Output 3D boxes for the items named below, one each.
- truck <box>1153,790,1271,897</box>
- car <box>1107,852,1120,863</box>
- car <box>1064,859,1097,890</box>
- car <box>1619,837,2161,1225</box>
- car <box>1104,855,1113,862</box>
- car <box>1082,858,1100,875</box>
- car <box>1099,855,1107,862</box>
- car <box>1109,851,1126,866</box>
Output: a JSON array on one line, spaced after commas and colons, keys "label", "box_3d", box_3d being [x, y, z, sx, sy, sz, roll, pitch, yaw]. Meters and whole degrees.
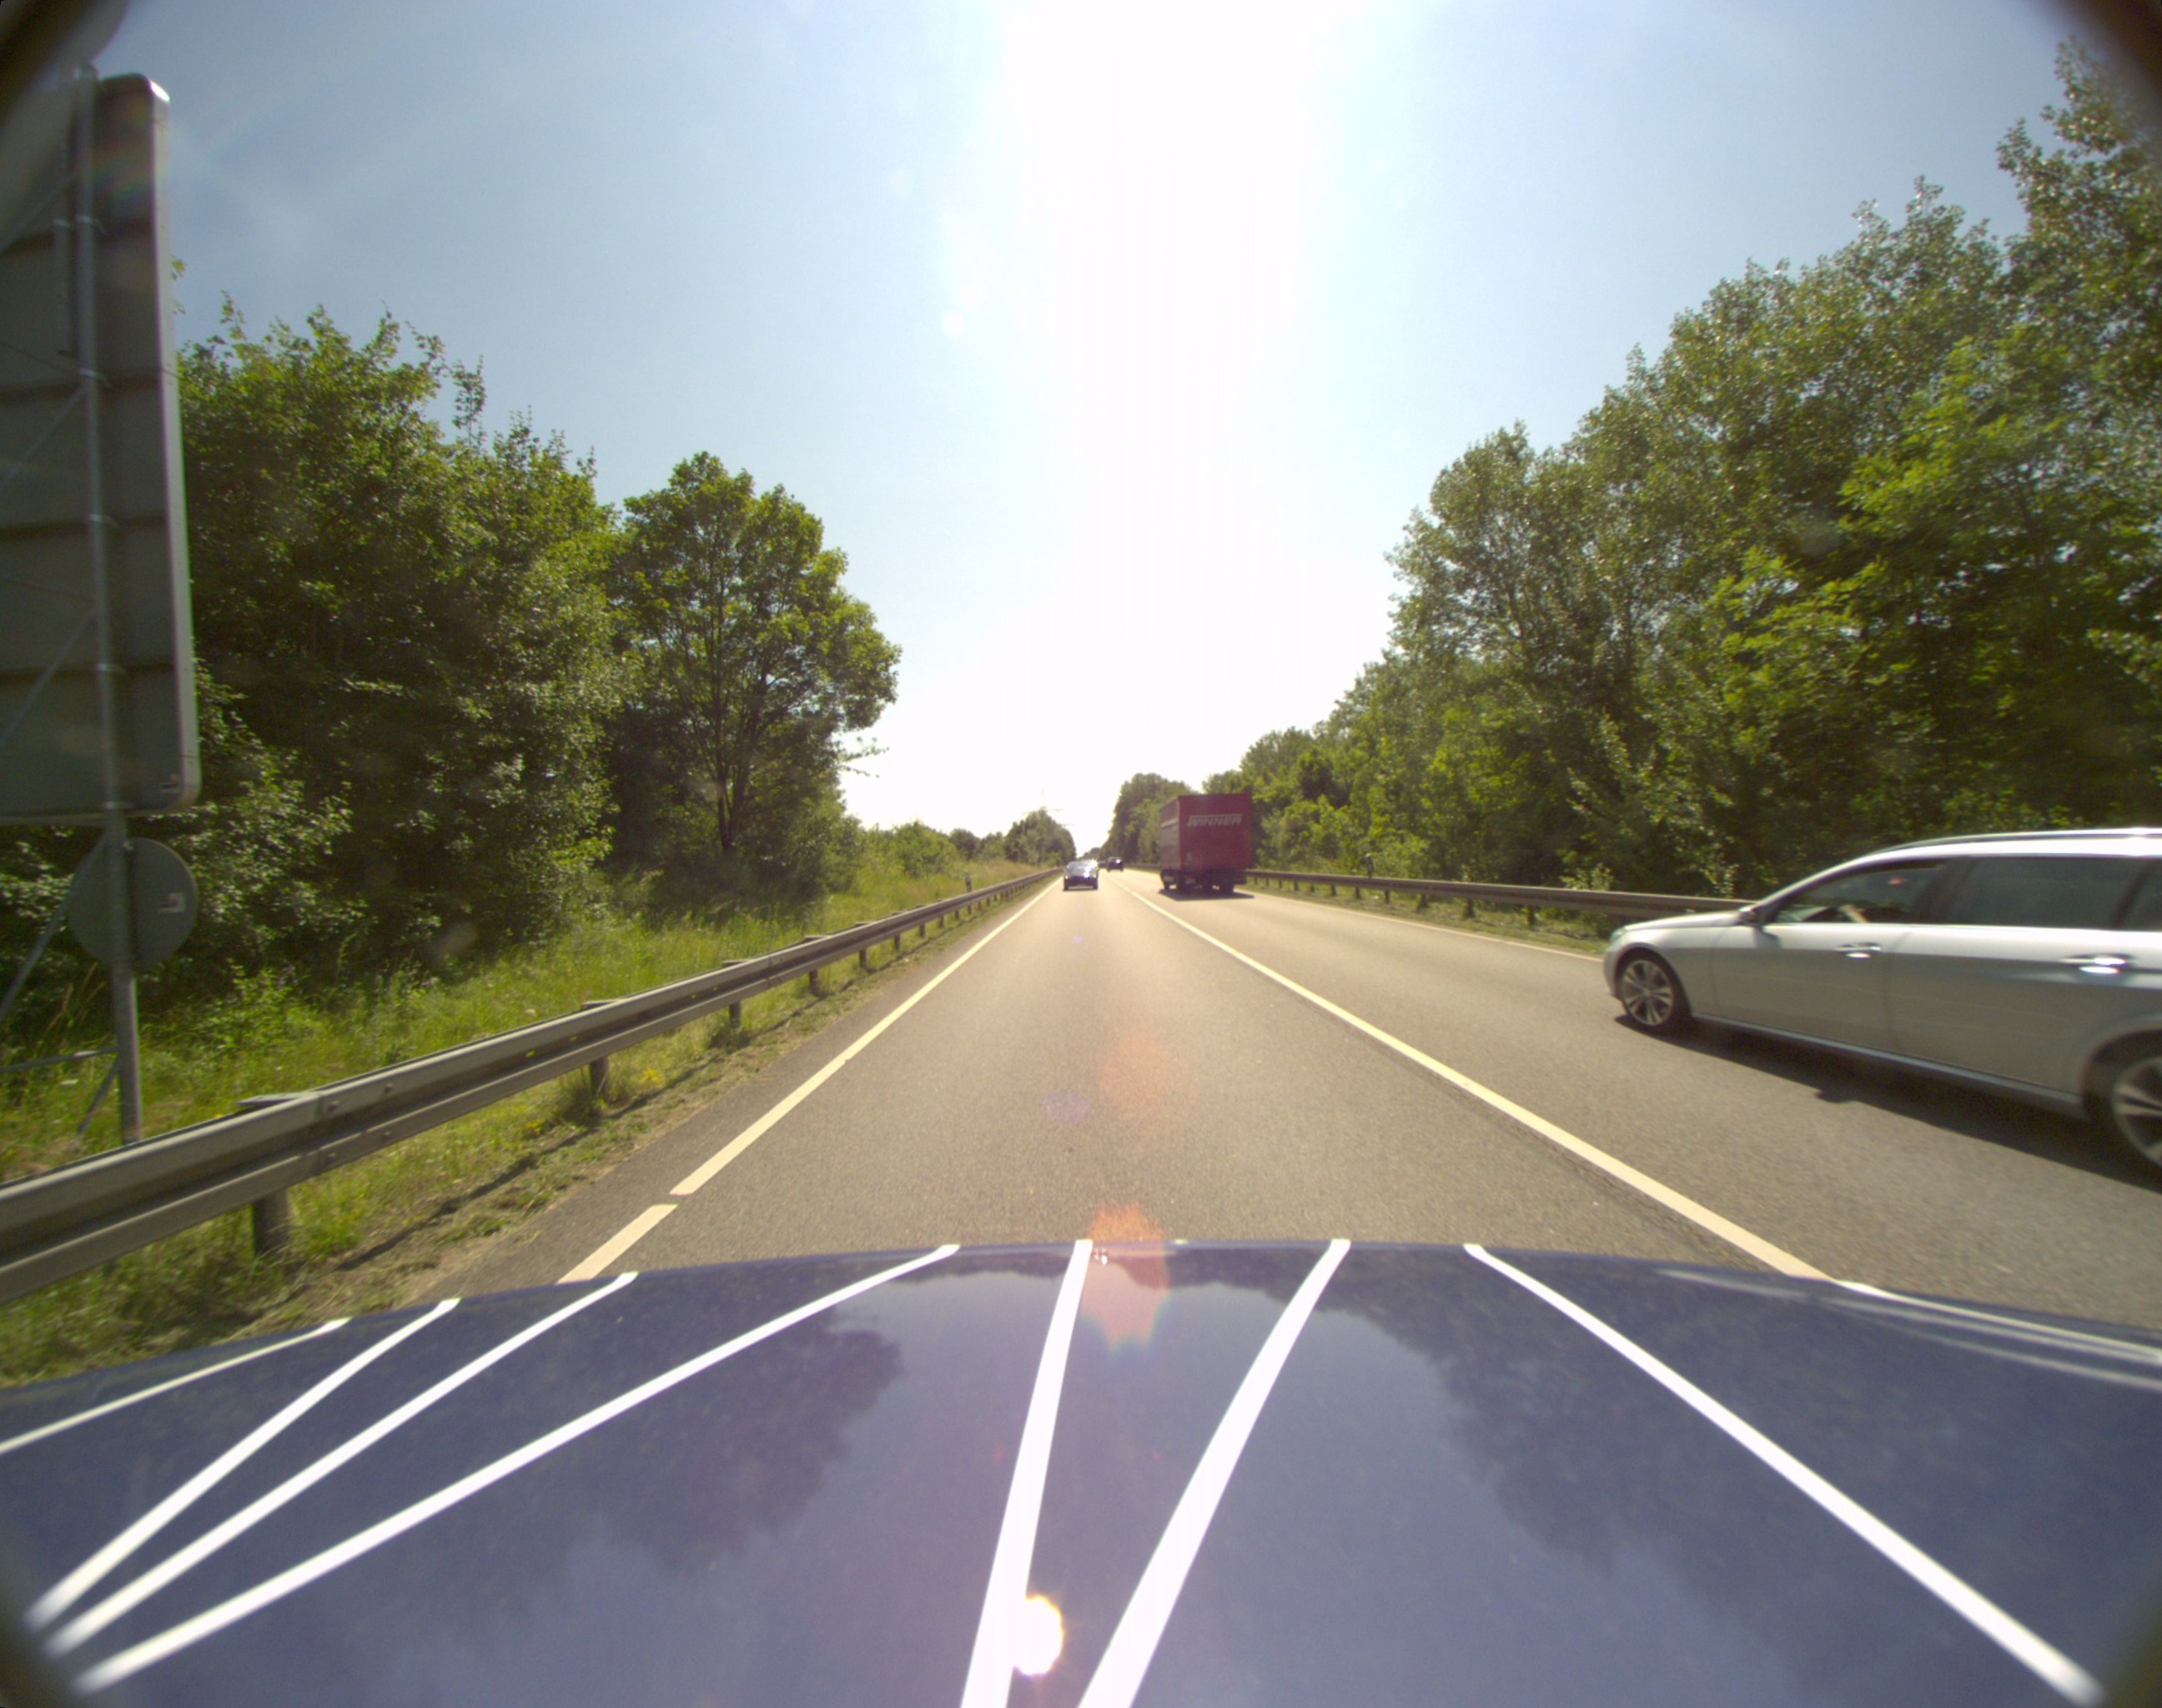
[{"label": "truck", "box_3d": [5.093, -0.376, 31.520, 3.200, 3.678, 9.006, -2, 0, 0]}, {"label": "car", "box_3d": [4.808, 0.556, 113.005, 1.762, 1.532, 3.806, -2, 0, 0]}, {"label": "car", "box_3d": [0.006, 0.980, 37.680, 1.529, 1.387, 3.443, -1, 0, 0]}, {"label": "car", "box_3d": [5.269, 0.704, 3.845, 1.823, 1.537, 4.526, -2, 0, -1]}, {"label": "car", "box_3d": [5.853, 0.970, 163.671, 1.762, 1.532, 3.806, -2, 0, 0]}, {"label": "car", "box_3d": [0.843, 1.080, 66.986, 1.443, 1.443, 3.297, -2, 0, -1]}, {"label": "car", "box_3d": [5.240, 1.124, 180.701, 1.762, 1.532, 3.806, -2, 0, 0]}, {"label": "car", "box_3d": [4.263, 0.485, 89.027, 1.762, 1.694, 4.000, -2, 0, 0]}]
